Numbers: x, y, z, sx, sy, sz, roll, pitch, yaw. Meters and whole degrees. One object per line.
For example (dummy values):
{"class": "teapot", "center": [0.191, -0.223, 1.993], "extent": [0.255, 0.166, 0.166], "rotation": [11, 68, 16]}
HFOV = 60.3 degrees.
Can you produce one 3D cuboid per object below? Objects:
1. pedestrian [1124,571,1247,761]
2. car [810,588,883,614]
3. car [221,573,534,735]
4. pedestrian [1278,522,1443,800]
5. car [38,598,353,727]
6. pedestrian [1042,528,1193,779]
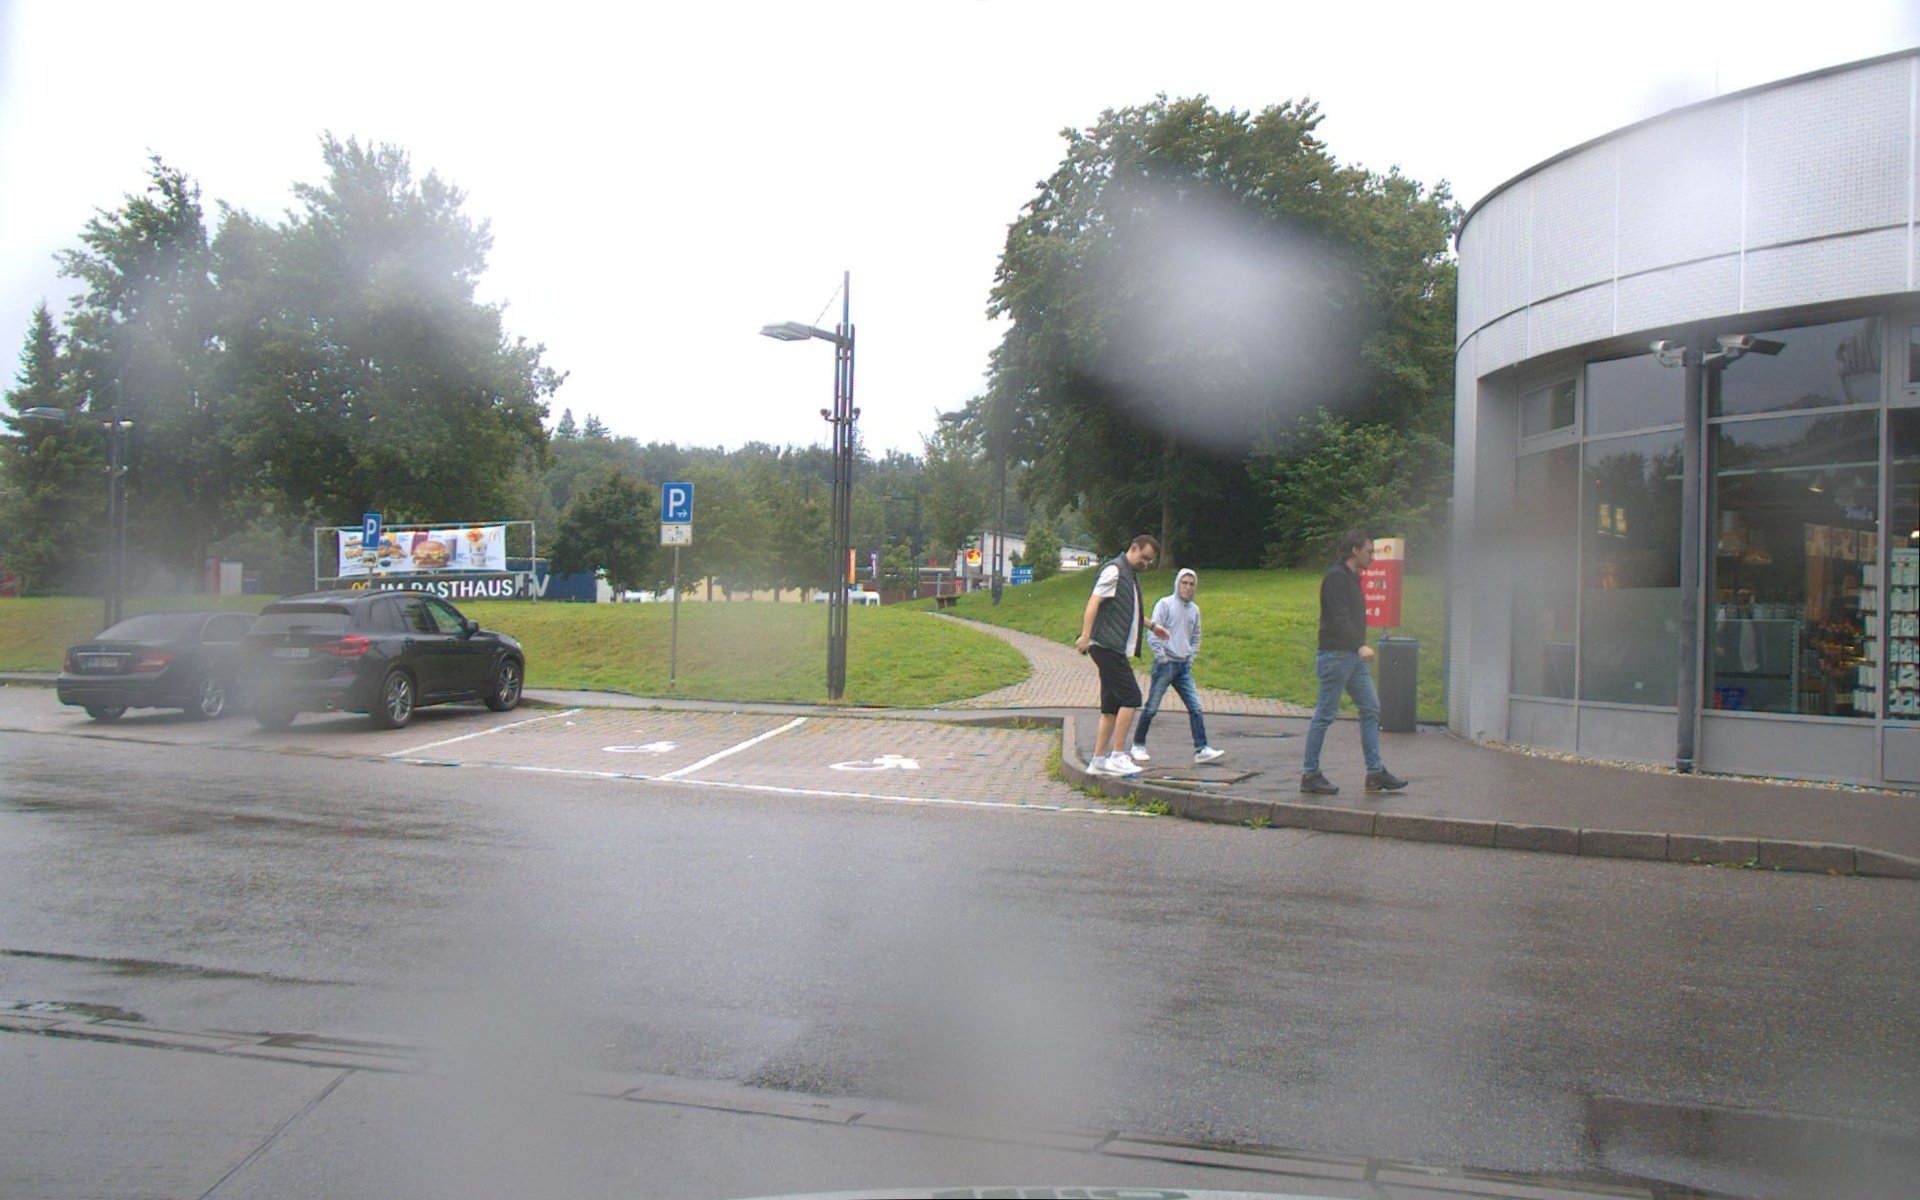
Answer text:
{"class": "pedestrian", "center": [1.946, 0.548, 14.252], "extent": [0.872, 1.577, 0.659], "rotation": [0, 0, 29]}
{"class": "car", "center": [-9.175, 0.059, 133.594], "extent": [5.310, 2.049, 2.456], "rotation": [1, 0, 19]}
{"class": "car", "center": [-7.329, 0.609, 21.342], "extent": [1.844, 1.860, 4.417], "rotation": [0, 0, 11]}
{"class": "pedestrian", "center": [2.880, 0.416, 11.867], "extent": [0.979, 1.897, 0.798], "rotation": [0, 0, 28]}
{"class": "car", "center": [-10.354, 0.782, 22.782], "extent": [1.844, 1.592, 4.189], "rotation": [0, 0, 11]}
{"class": "pedestrian", "center": [1.238, 0.396, 12.960], "extent": [0.954, 1.880, 0.772], "rotation": [0, 0, 28]}
